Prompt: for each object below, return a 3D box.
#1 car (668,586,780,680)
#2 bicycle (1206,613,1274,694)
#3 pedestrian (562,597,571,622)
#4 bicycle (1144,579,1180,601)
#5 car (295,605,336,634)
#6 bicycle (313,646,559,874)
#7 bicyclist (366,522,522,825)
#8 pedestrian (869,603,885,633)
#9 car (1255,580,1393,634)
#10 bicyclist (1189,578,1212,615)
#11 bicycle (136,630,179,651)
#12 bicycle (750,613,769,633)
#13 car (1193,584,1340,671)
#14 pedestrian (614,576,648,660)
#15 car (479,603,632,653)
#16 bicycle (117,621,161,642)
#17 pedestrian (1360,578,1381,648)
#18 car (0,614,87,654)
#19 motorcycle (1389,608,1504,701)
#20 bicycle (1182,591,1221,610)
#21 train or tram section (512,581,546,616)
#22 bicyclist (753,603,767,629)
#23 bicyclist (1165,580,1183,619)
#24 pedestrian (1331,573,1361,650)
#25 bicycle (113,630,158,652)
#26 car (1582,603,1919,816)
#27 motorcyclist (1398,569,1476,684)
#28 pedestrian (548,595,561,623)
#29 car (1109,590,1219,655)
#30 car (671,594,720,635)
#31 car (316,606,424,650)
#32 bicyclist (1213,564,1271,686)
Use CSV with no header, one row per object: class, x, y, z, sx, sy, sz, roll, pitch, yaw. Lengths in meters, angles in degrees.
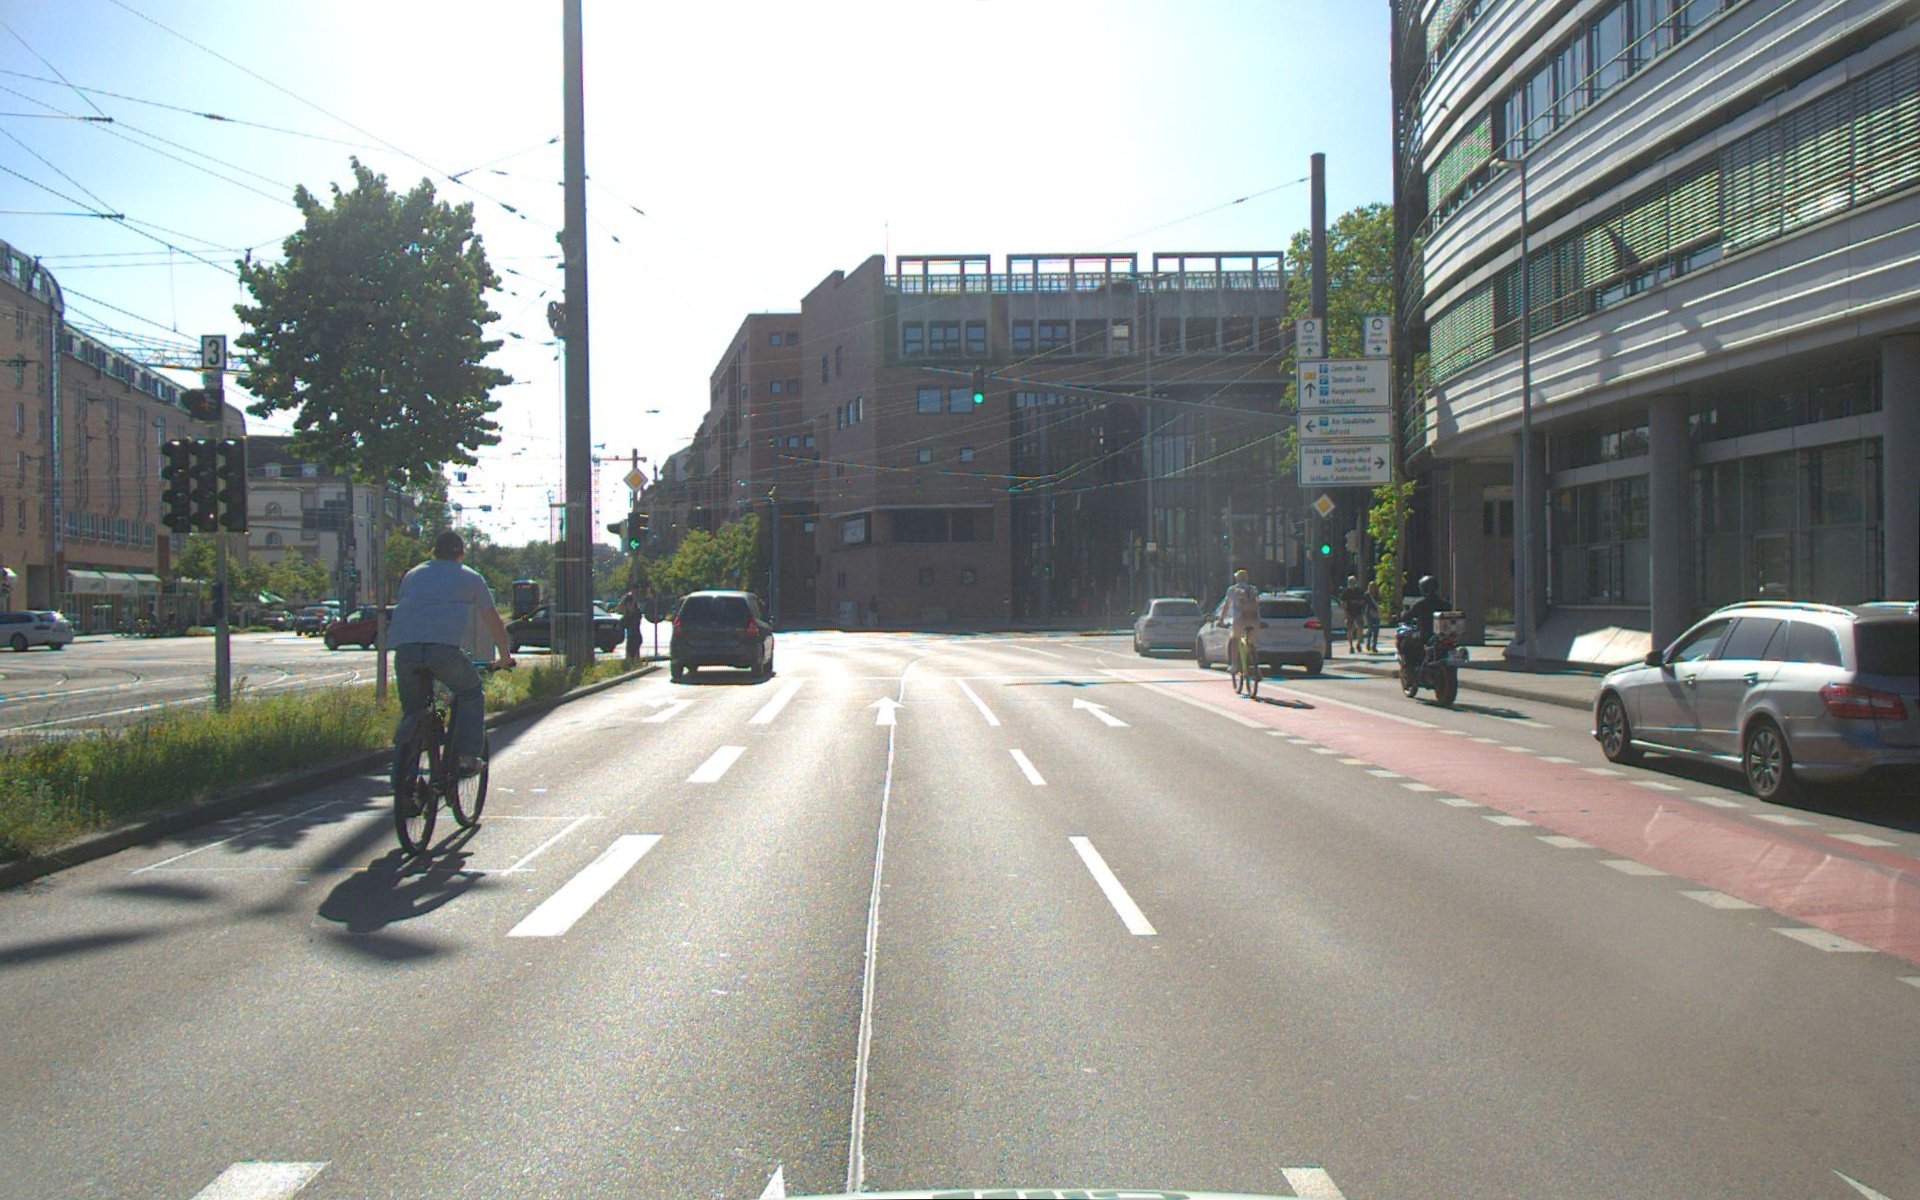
car,-4.277,0.559,30.413,1.692,1.591,3.675,-1,0,-3
bicycle,4.225,0.790,25.048,0.636,1.129,1.757,-1,1,-3
pedestrian,-26.933,0.639,113.187,0.530,1.684,0.703,-1,0,-16
bicycle,9.878,-0.488,80.902,1.646,1.012,0.668,-1,0,-23
car,-36.427,1.073,93.536,1.583,1.422,3.905,-5,2,-14
bicycle,-3.054,0.872,9.962,0.673,1.088,2.696,1,0,-1
bicyclist,-3.044,0.411,9.835,0.605,1.699,1.019,1,0,-2
pedestrian,-4.537,0.977,90.567,0.608,1.590,0.982,-1,0,-17
car,11.812,0.227,53.726,3.922,1.611,1.905,1,2,-16
bicyclist,11.020,-0.159,75.770,0.848,1.658,0.669,-1,0,-13
bicycle,-52.747,2.640,108.720,2.436,1.333,0.733,-1,0,-5
bicycle,-10.407,1.183,85.696,0.593,1.002,2.304,-1,0,-16
car,6.065,0.493,33.205,1.869,1.611,4.134,1,0,-5
pedestrian,-7.063,0.382,35.504,0.658,1.783,0.766,-1,0,-15
car,-12.411,0.861,50.716,4.415,1.474,1.731,-1,0,24
bicycle,-53.214,2.032,107.217,2.436,1.333,0.733,-1,0,-5
pedestrian,9.996,0.306,40.255,0.418,1.674,0.562,-2,1,16
car,-35.549,1.290,62.392,4.304,1.405,2.069,-1,0,12
motorcycle,6.788,0.732,23.215,0.812,1.222,2.389,0,0,-3
bicycle,11.069,0.019,75.787,1.640,0.820,0.671,-1,0,-14
train or tram section,-40.120,-0.128,154.366,2.285,3.055,13.122,-1,0,-11
bicyclist,-10.305,0.826,85.313,0.583,1.359,0.929,0,0,-16
bicyclist,10.505,-0.024,81.069,0.597,1.917,0.646,-1,0,-23
pedestrian,9.428,0.280,40.384,0.624,1.829,0.609,-2,1,15
bicycle,-52.795,2.647,105.952,2.436,1.333,0.733,-1,0,-5
car,6.992,0.759,13.816,1.686,1.420,4.786,-1,0,-1
motorcyclist,6.762,0.374,23.498,0.812,1.588,0.941,0,-1,-3
pedestrian,-25.524,0.576,104.078,0.605,1.698,0.860,-4,1,-17
car,5.272,0.560,43.233,1.870,1.568,4.131,1,0,-7
car,-13.423,0.710,83.814,1.961,1.982,3.982,-1,0,-16
car,-20.591,0.966,57.726,3.505,1.474,1.656,-1,0,29
bicyclist,4.231,0.356,24.866,0.636,1.783,1.045,-1,1,-3
